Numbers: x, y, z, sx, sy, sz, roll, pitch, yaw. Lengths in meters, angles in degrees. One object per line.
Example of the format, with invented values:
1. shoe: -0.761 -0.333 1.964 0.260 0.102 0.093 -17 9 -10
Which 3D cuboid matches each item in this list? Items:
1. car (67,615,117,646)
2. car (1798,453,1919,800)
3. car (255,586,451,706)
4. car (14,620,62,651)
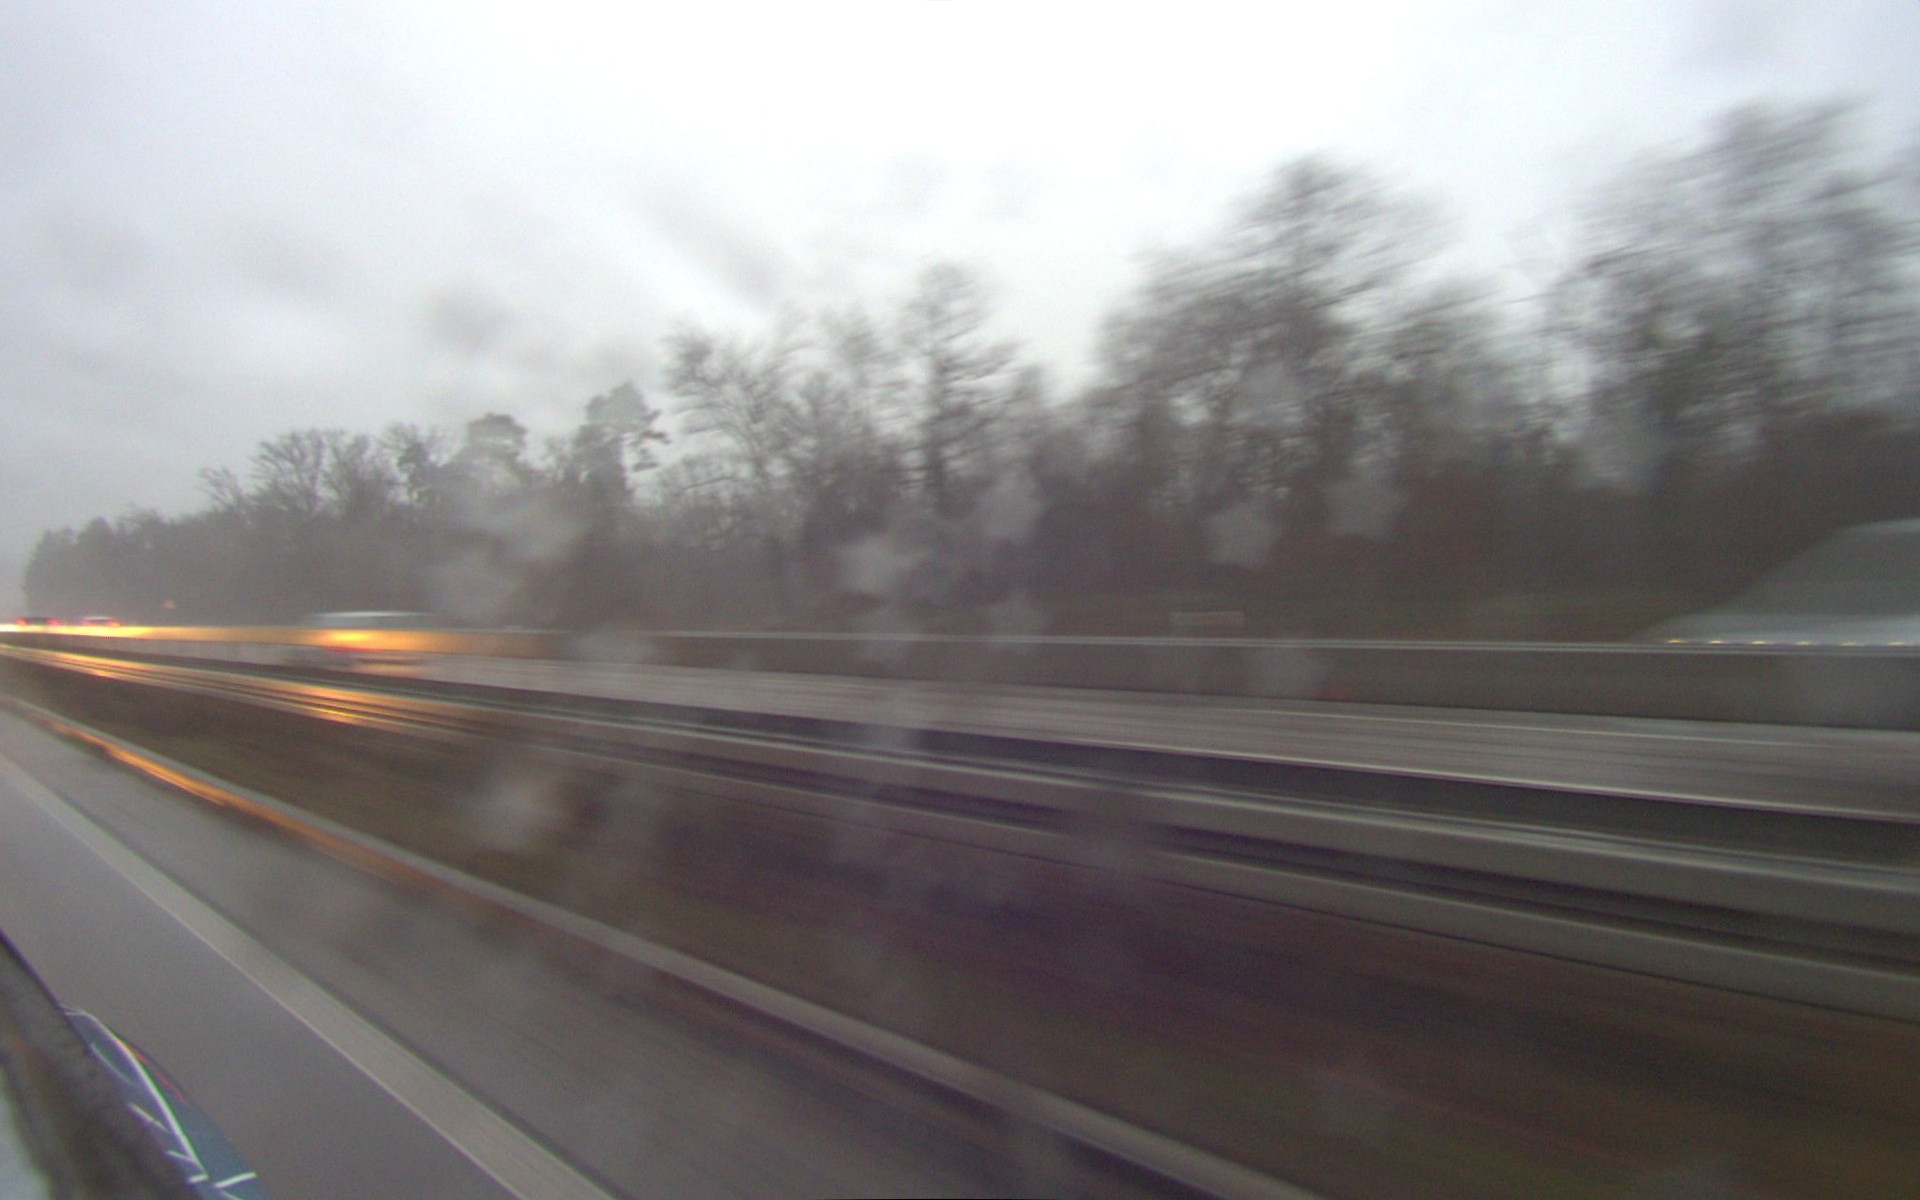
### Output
1. car: -52.346 1.795 60.980 4.424 1.760 1.702 -1 0 42
2. car: 8.687 0.154 6.162 5.458 2.334 2.010 -1 0 41
3. car: -11.456 0.777 18.952 4.815 1.971 1.725 -1 0 41
4. car: -46.308 1.751 50.819 4.124 1.406 1.526 -1 0 44
